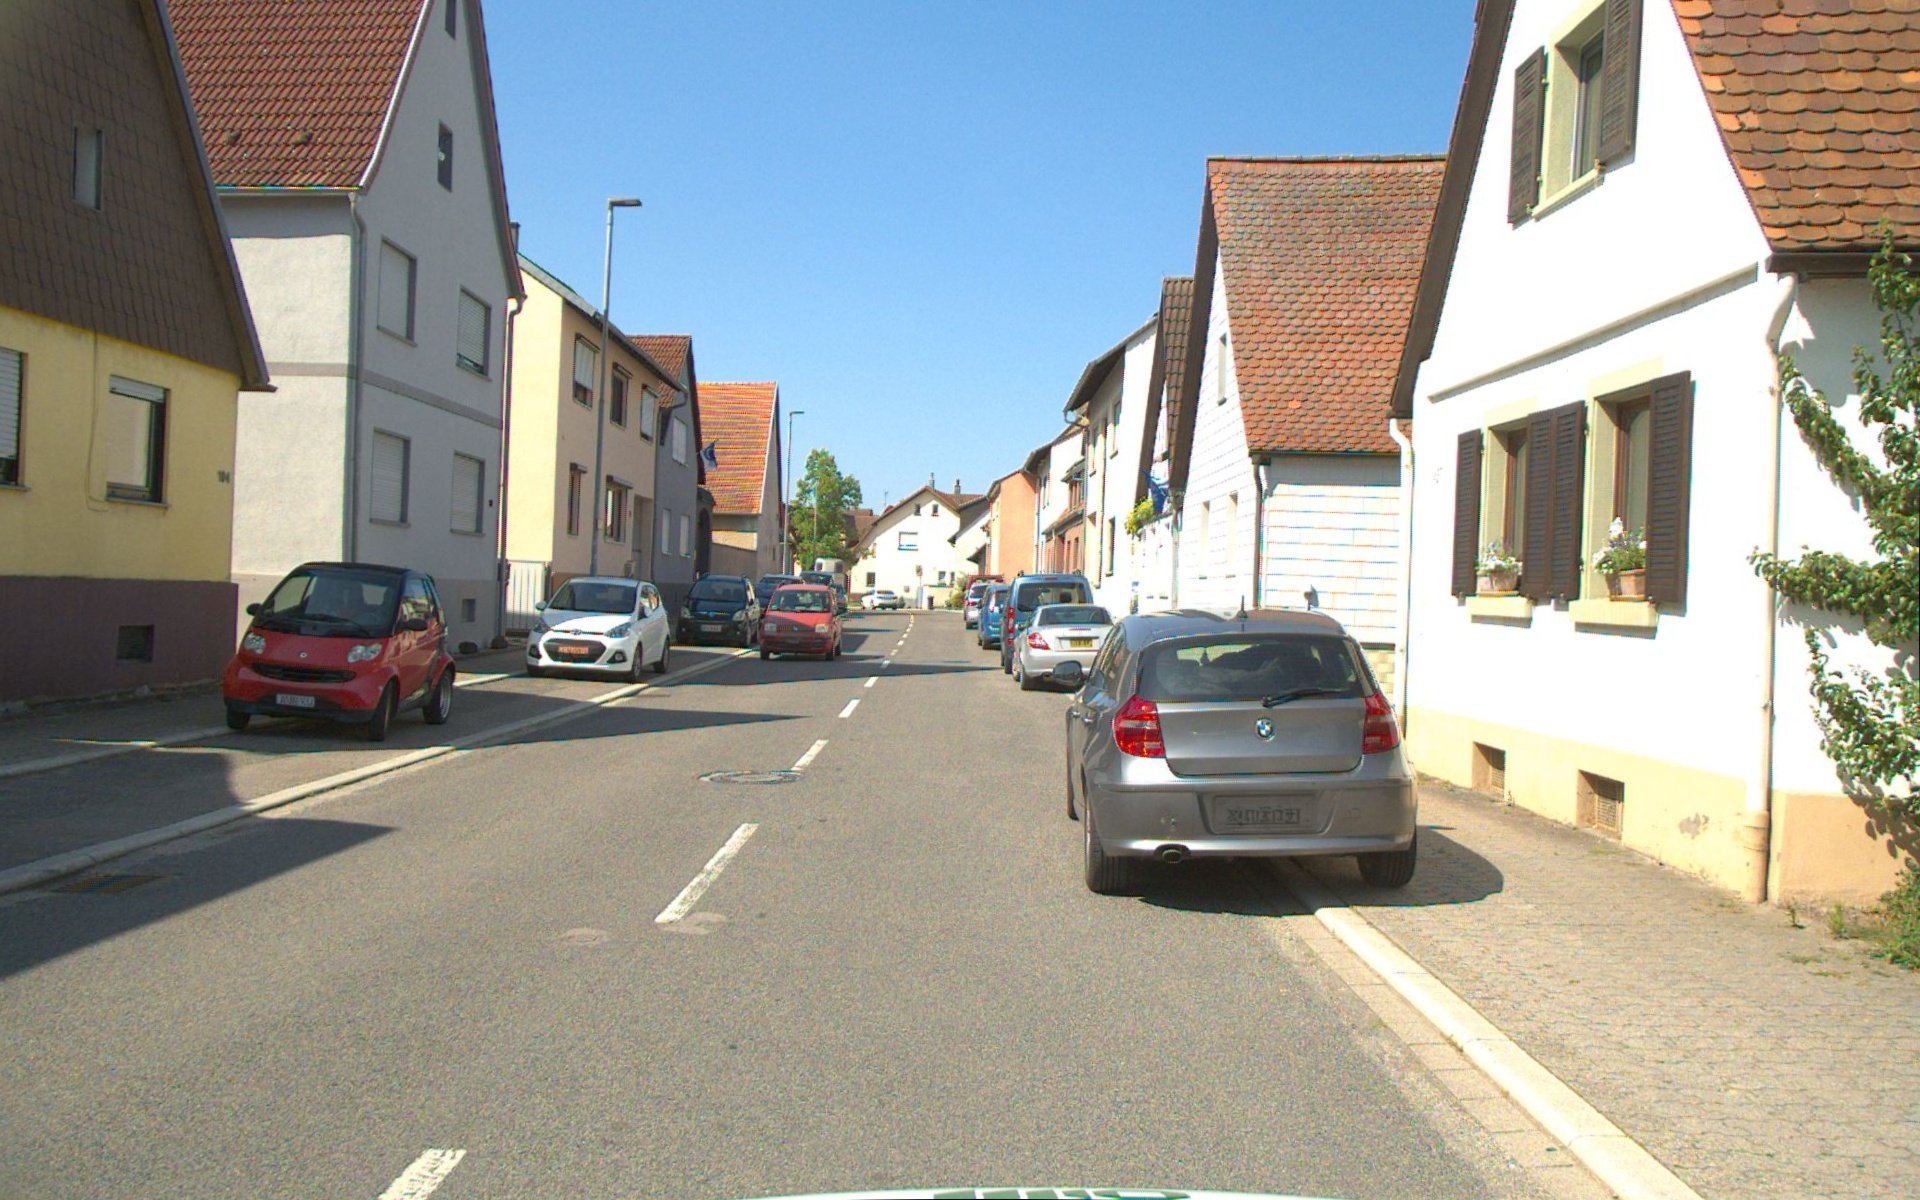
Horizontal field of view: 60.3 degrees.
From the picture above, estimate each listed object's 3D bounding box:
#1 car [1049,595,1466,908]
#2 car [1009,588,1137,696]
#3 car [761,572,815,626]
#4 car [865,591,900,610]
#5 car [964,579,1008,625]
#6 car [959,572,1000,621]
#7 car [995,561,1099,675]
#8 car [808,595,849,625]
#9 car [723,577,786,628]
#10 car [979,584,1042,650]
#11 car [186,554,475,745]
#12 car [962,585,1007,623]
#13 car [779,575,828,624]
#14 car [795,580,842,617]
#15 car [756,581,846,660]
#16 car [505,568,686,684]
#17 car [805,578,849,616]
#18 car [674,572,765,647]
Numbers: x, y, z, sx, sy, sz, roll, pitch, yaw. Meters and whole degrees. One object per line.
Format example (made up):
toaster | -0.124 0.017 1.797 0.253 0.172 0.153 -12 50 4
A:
car | 1.495 0.702 9.660 1.670 1.458 3.888 0 0 -1
car | 1.738 0.624 26.330 1.670 1.522 3.451 3 0 -1
car | -5.937 -0.049 57.361 1.496 1.743 3.625 3 0 -1
car | -5.605 0.041 118.845 1.957 1.311 3.990 2 0 -10
car | 0.921 0.071 59.805 1.392 1.541 3.303 3 0 -1
car | 0.841 -0.134 72.986 1.730 2.039 3.450 2 0 0
car | 1.582 0.315 31.205 1.616 1.943 3.625 3 0 -1
car | -6.792 0.504 85.791 1.718 1.467 4.000 2 0 0
car | -6.343 0.078 51.254 1.473 1.478 3.508 2 0 0
car | 1.256 0.408 42.238 1.392 1.541 3.303 3 0 -1
car | -5.877 0.427 15.795 1.521 1.571 2.988 3 0 0
car | 0.985 0.176 67.601 1.730 1.458 3.450 2 0 0
car | -5.920 -0.023 62.795 1.496 1.743 3.625 3 0 -1
car | -5.938 -0.063 69.766 1.719 1.467 3.999 2 0 -2
car | -3.342 0.420 35.264 1.569 1.515 3.625 3 0 -1
car | -5.620 0.375 26.081 1.769 1.574 4.404 3 0 0
car | -6.110 -0.127 76.468 1.718 1.653 3.999 2 0 -1
car | -5.660 0.219 39.314 1.586 1.605 3.960 3 0 -1
